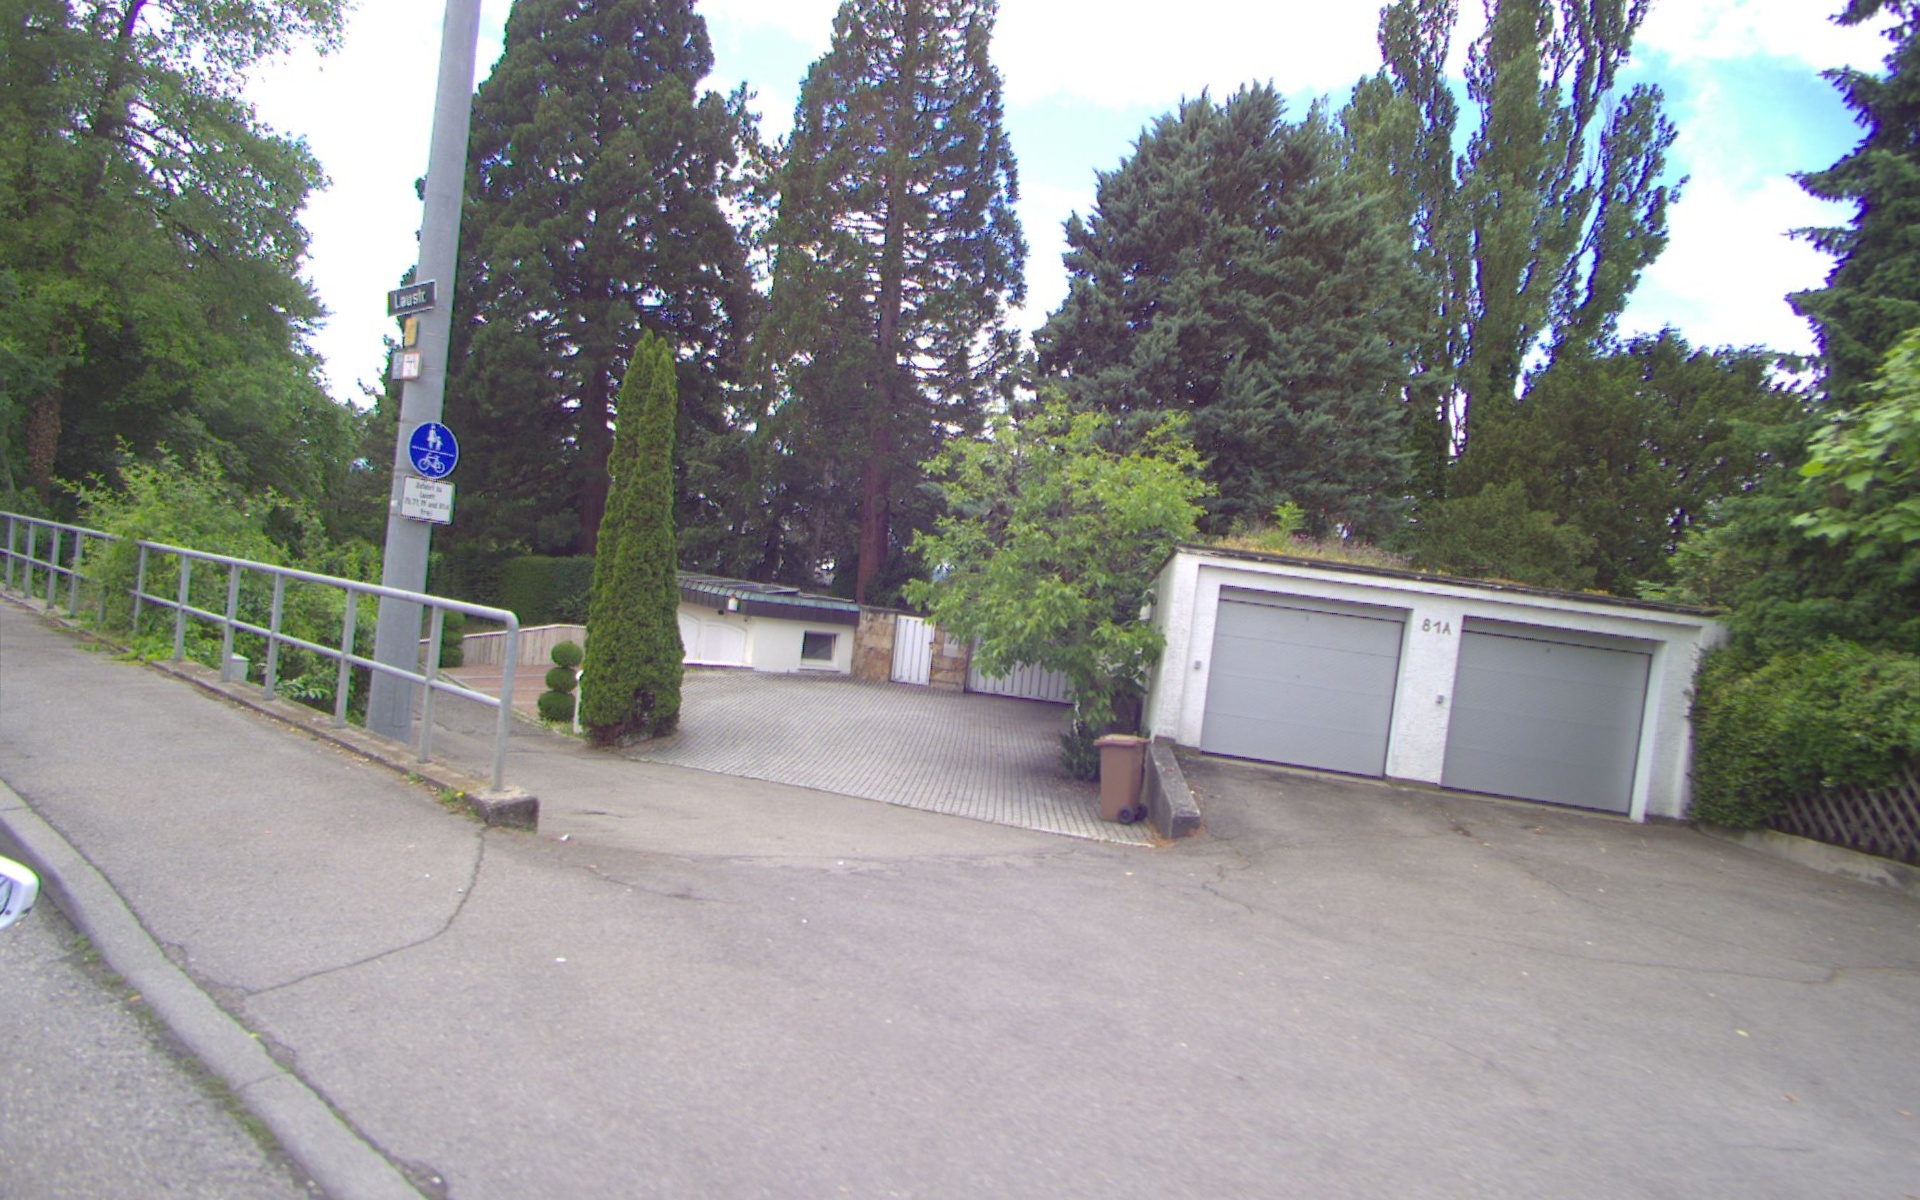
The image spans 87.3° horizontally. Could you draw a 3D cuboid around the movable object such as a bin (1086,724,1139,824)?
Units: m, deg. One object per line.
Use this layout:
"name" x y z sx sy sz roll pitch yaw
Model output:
"movable object such as a bin" 1.665 1.890 11.024 0.499 0.986 0.541 3 -1 8
